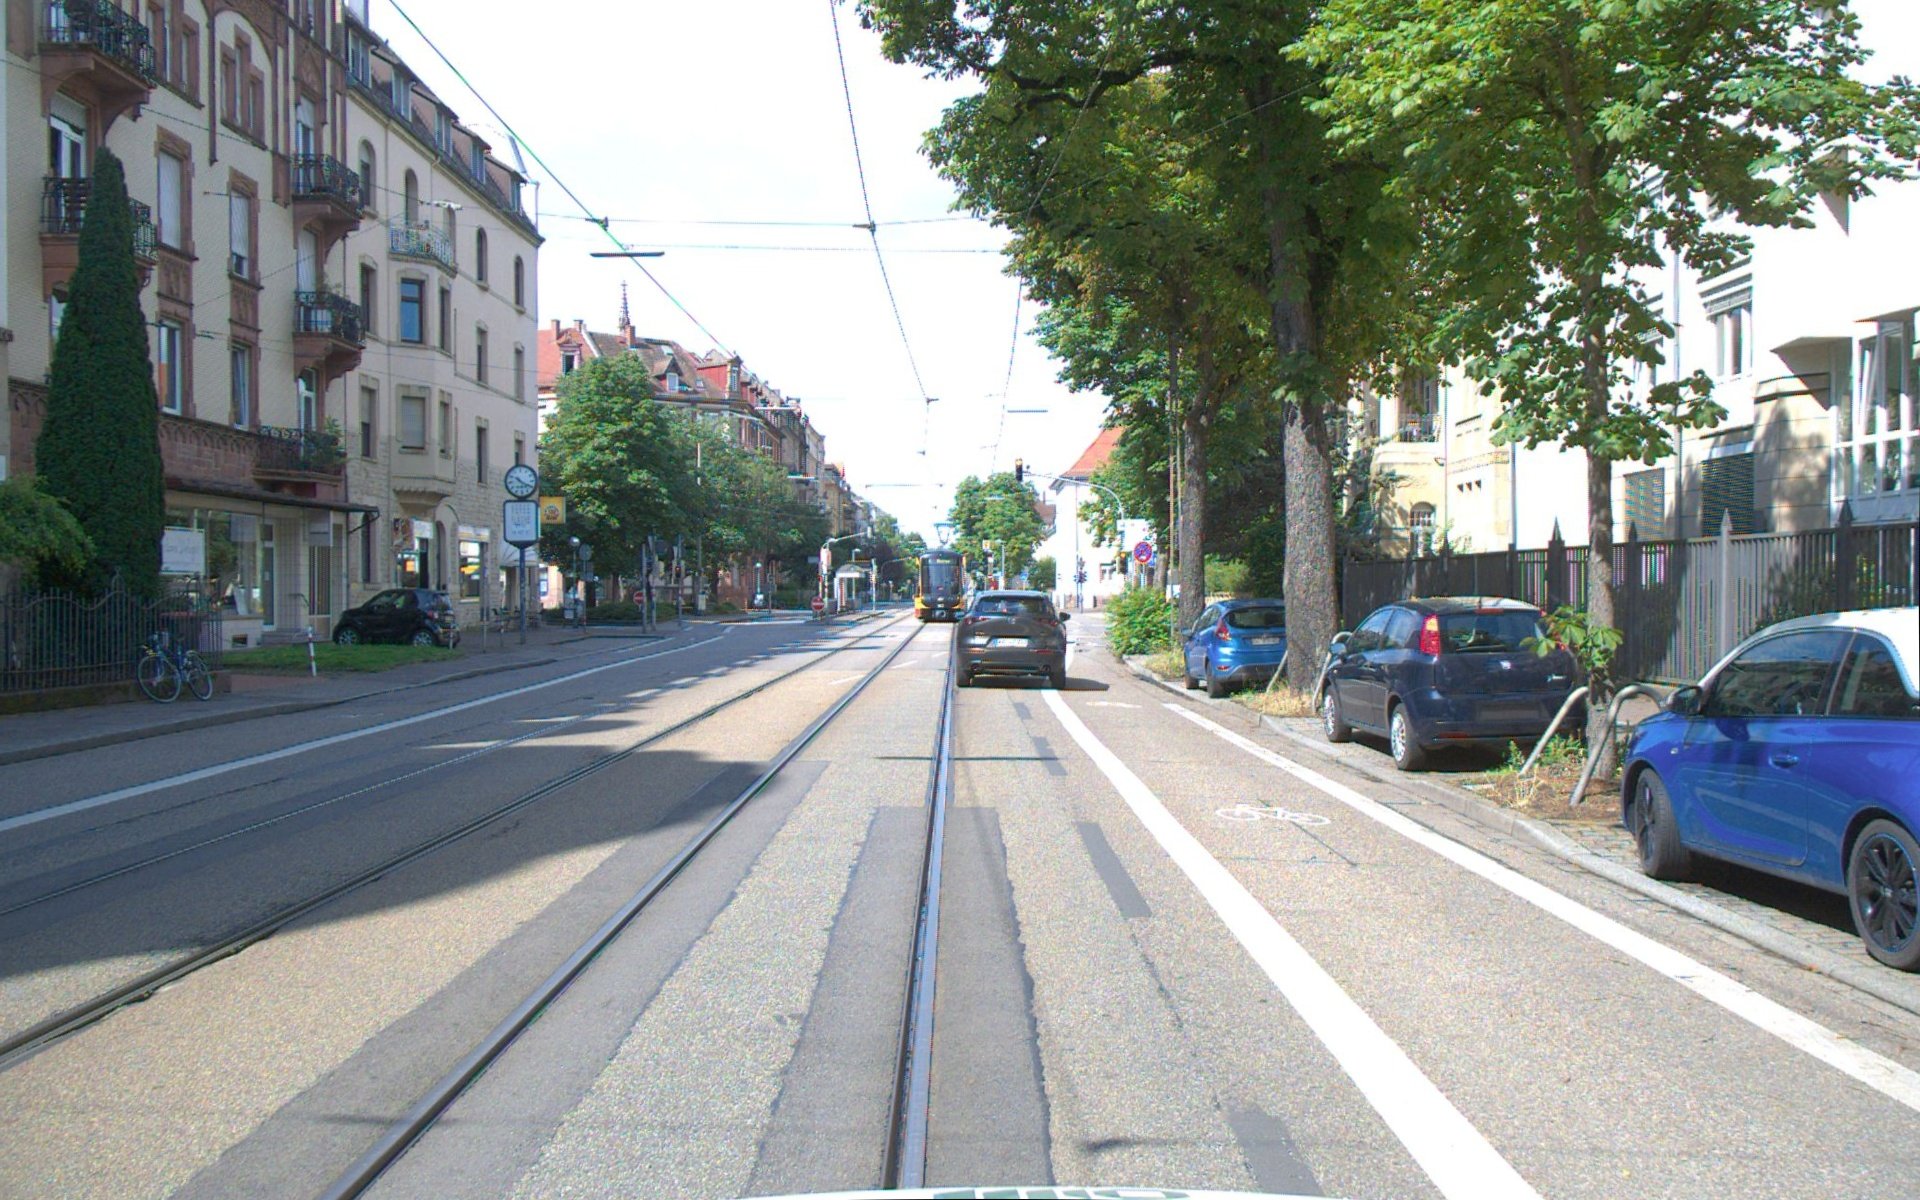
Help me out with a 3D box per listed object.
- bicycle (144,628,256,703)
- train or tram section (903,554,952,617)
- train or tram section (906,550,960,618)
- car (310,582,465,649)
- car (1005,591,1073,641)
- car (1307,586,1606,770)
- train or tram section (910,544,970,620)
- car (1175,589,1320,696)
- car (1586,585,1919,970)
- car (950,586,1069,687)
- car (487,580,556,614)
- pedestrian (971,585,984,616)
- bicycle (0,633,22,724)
[{"bbox_3d":[-10.526,0.895,22.961,0.500,0.976,1.816,2,-1,7],"label":"bicycle"},{"bbox_3d":[-2.028,-0.828,100.602,2.599,3.589,8.491,-1,0,-3],"label":"train or tram section"},{"bbox_3d":[-1.565,-0.839,92.107,2.599,3.589,8.491,-1,0,-3],"label":"train or tram section"},{"bbox_3d":[-14.009,0.374,40.576,3.169,1.539,1.679,1,0,3],"label":"car"},{"bbox_3d":[2.525,0.484,53.896,1.749,1.518,4.881,-1,1,-3],"label":"car"},{"bbox_3d":[4.655,0.655,16.058,1.607,1.522,3.756,-2,0,-2],"label":"car"},{"bbox_3d":[-1.104,-0.845,83.612,2.599,3.589,8.491,-1,0,-3],"label":"train or tram section"},{"bbox_3d":[4.535,0.625,26.546,1.591,1.522,3.847,-2,0,0],"label":"car"},{"bbox_3d":[4.658,0.714,8.192,1.606,1.522,3.626,-2,0,-2],"label":"car"},{"bbox_3d":[0.754,0.543,27.716,1.753,1.538,4.350,0,0,-1],"label":"car"},{"bbox_3d":[-30.546,-0.219,115.301,4.032,2.048,2.002,-4,0,9],"label":"car"},{"bbox_3d":[0.904,0.020,85.864,0.654,1.633,0.699,0,0,-2],"label":"pedestrian"},{"bbox_3d":[-10.591,0.857,17.398,0.417,0.976,1.706,1,1,1],"label":"bicycle"}]
